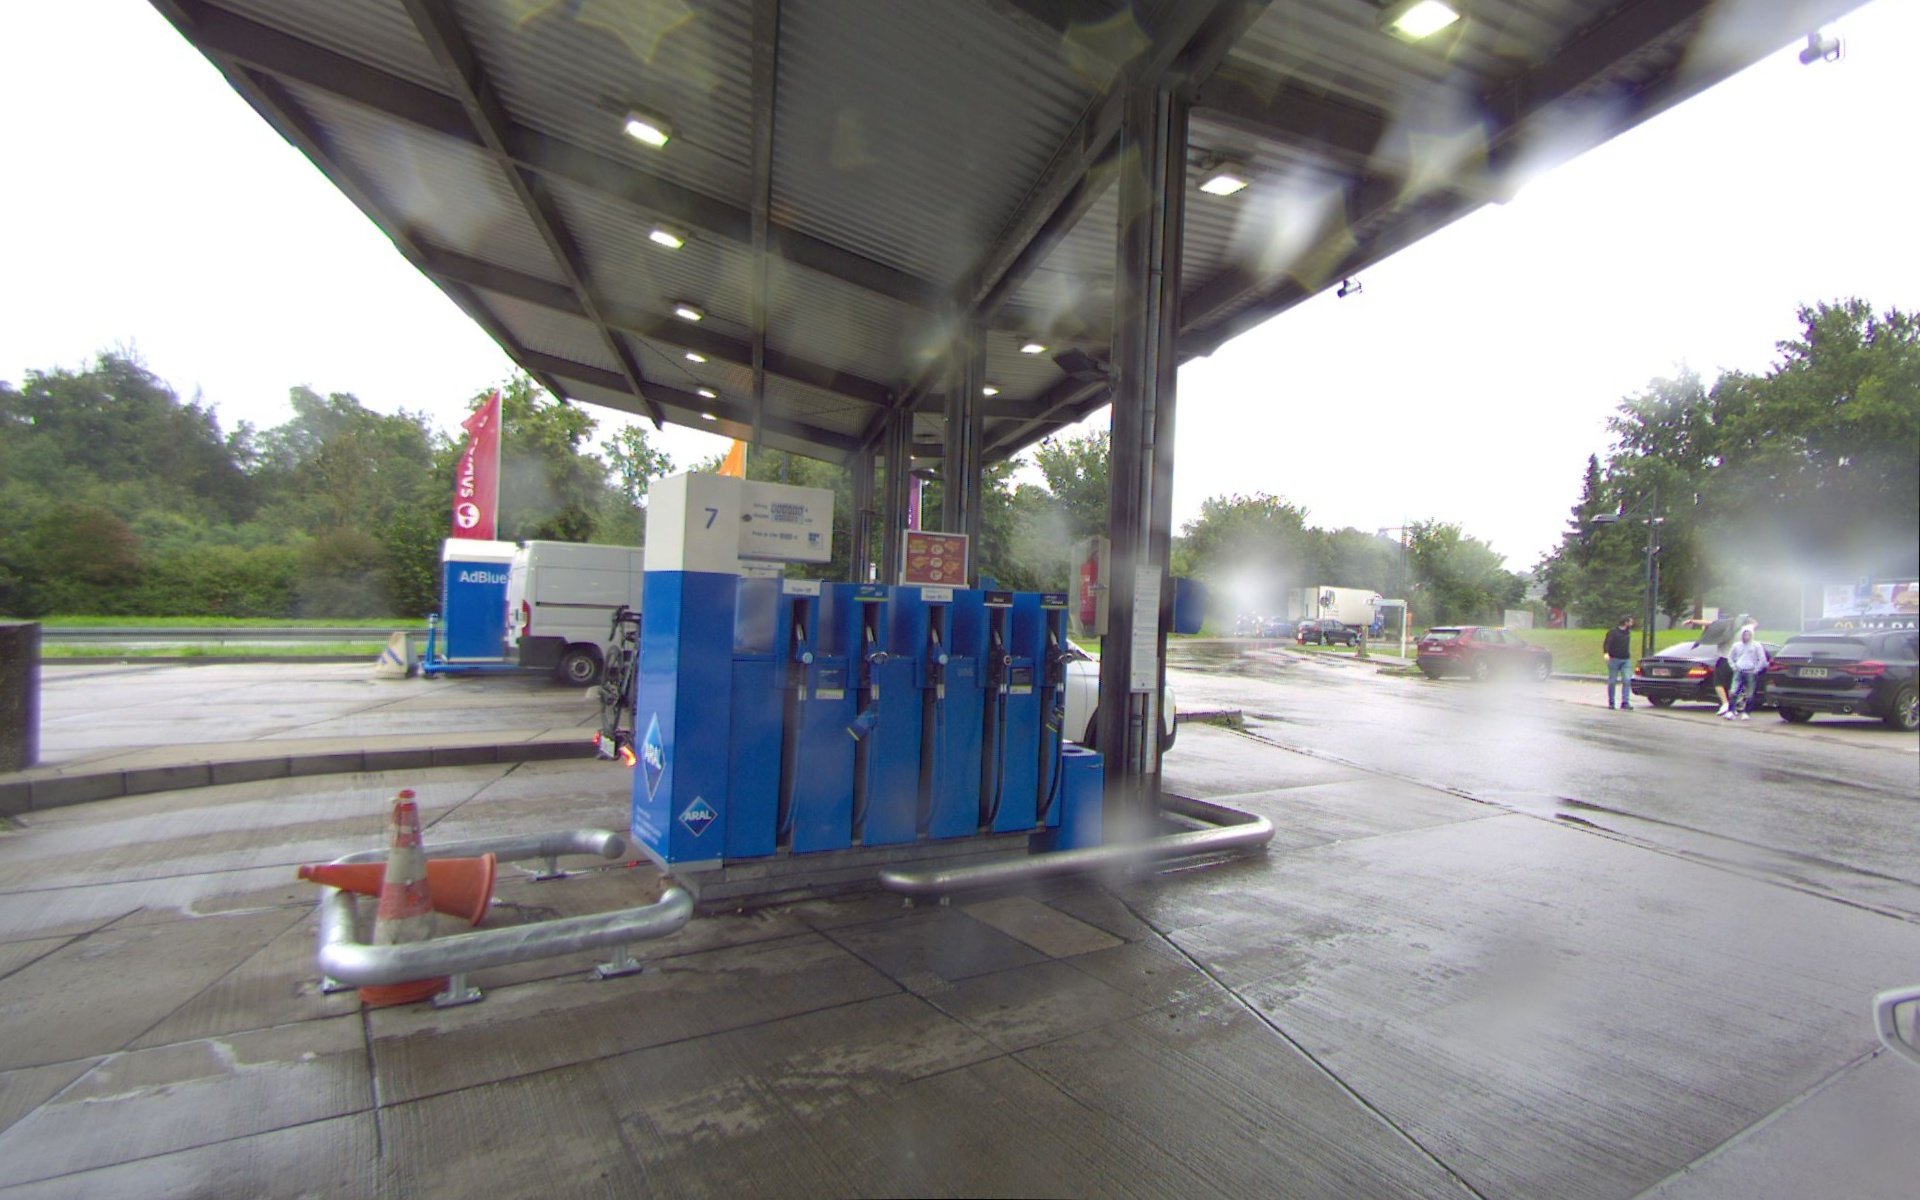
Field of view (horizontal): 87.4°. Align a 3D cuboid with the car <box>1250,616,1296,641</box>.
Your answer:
[{"bbox_3d":[22.895,2.057,73.425,1.787,1.704,3.934,2,0,40],"label":"car"}]

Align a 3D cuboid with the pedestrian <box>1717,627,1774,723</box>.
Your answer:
[{"bbox_3d":[14.168,1.329,18.118,0.694,1.653,0.948,2,0,44],"label":"pedestrian"}]

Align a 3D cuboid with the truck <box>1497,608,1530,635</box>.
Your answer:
[{"bbox_3d":[68.123,2.652,123.487,2.446,3.126,7.328,2,0,37],"label":"truck"}]

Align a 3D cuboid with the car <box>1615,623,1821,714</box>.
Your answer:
[{"bbox_3d":[15.935,1.355,21.079,4.293,1.734,2.007,1,-2,-31],"label":"car"}]

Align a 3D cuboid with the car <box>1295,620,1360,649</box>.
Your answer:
[{"bbox_3d":[22.755,2.140,62.130,3.965,1.700,1.978,3,-1,-38],"label":"car"}]

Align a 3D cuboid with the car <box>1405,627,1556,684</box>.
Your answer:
[{"bbox_3d":[16.070,1.667,30.990,4.283,1.666,1.933,1,-2,-25],"label":"car"}]

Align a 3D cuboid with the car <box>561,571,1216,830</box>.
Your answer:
[{"bbox_3d":[-0.431,0.699,8.446,5.210,1.629,1.852,2,0,-30],"label":"car"}]

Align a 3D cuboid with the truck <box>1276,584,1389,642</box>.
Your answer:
[{"bbox_3d":[31.870,1.180,85.140,3.498,4.397,16.922,2,0,40],"label":"truck"}]

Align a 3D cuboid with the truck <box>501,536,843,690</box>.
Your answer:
[{"bbox_3d":[-5.344,0.289,18.927,5.793,2.527,2.221,2,0,-30],"label":"truck"}]

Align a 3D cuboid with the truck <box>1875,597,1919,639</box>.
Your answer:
[{"bbox_3d":[68.846,1.322,71.691,5.285,2.959,2.191,2,0,-5],"label":"truck"}]

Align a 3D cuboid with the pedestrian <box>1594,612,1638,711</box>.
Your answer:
[{"bbox_3d":[13.181,1.212,20.189,0.692,1.912,0.891,2,0,34],"label":"pedestrian"}]

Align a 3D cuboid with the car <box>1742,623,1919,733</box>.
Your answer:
[{"bbox_3d":[16.166,1.270,17.456,4.274,1.734,2.016,1,-1,-18],"label":"car"}]

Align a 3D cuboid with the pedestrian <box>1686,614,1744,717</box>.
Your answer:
[{"bbox_3d":[14.601,1.241,19.453,0.691,1.912,0.953,2,0,27],"label":"pedestrian"}]
